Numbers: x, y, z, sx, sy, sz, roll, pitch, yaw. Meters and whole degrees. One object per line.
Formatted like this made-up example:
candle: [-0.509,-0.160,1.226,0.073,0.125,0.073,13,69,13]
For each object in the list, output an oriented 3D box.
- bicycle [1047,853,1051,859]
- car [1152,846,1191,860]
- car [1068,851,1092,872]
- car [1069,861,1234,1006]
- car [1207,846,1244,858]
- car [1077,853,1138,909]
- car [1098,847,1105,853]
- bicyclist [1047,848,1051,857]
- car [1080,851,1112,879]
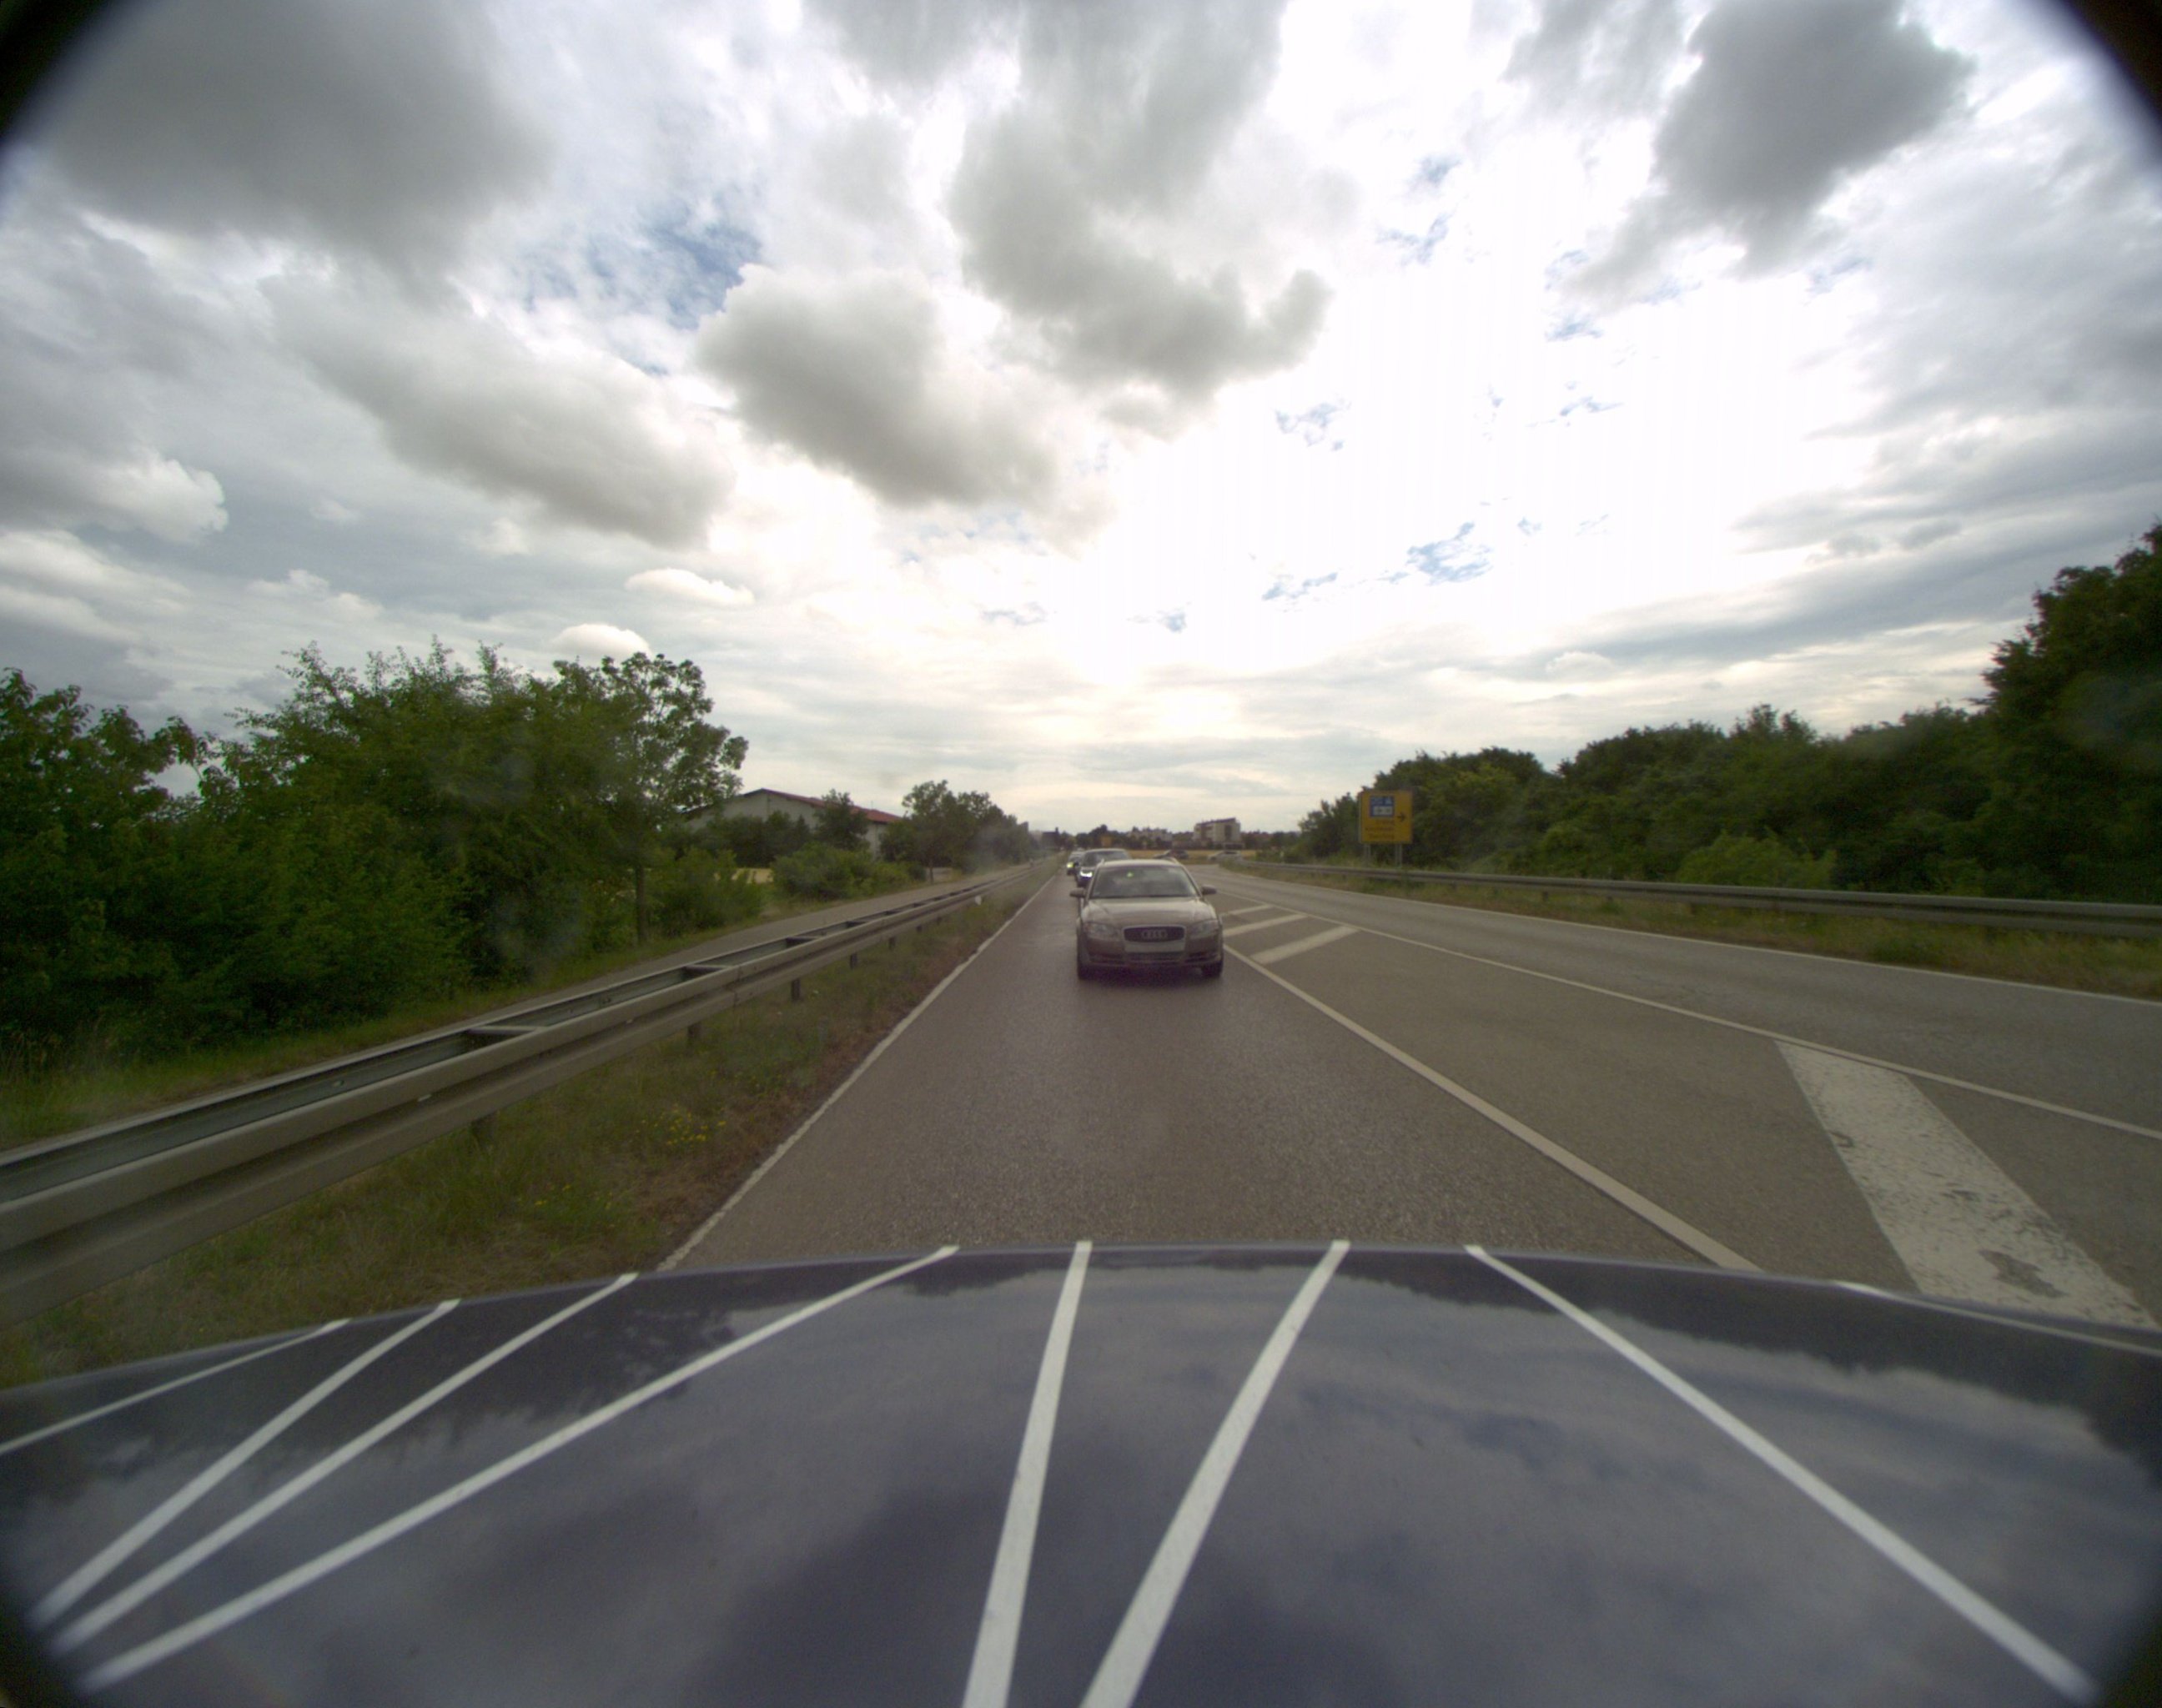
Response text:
bicycle: [-5.881,0.321,138.305,0.640,0.972,2.072,-1,1,0]
car: [11.849,-0.179,99.605,4.816,1.680,1.999,-1,1,-4]
car: [-0.099,0.569,56.959,1.730,1.436,4.203,-2,1,0]
car: [0.735,0.863,10.177,1.730,1.436,4.203,-1,1,0]
car: [18.978,-0.273,99.708,4.672,1.490,2.001,-1,1,9]
car: [0.759,0.775,24.087,1.730,1.534,4.203,-2,1,0]
car: [5.244,-0.993,195.134,1.804,1.442,4.445,-1,1,-1]
bicyclist: [-5.888,-0.244,138.274,0.640,1.573,0.969,-1,1,0]
car: [0.813,0.608,44.588,1.730,1.478,4.203,-2,1,0]
